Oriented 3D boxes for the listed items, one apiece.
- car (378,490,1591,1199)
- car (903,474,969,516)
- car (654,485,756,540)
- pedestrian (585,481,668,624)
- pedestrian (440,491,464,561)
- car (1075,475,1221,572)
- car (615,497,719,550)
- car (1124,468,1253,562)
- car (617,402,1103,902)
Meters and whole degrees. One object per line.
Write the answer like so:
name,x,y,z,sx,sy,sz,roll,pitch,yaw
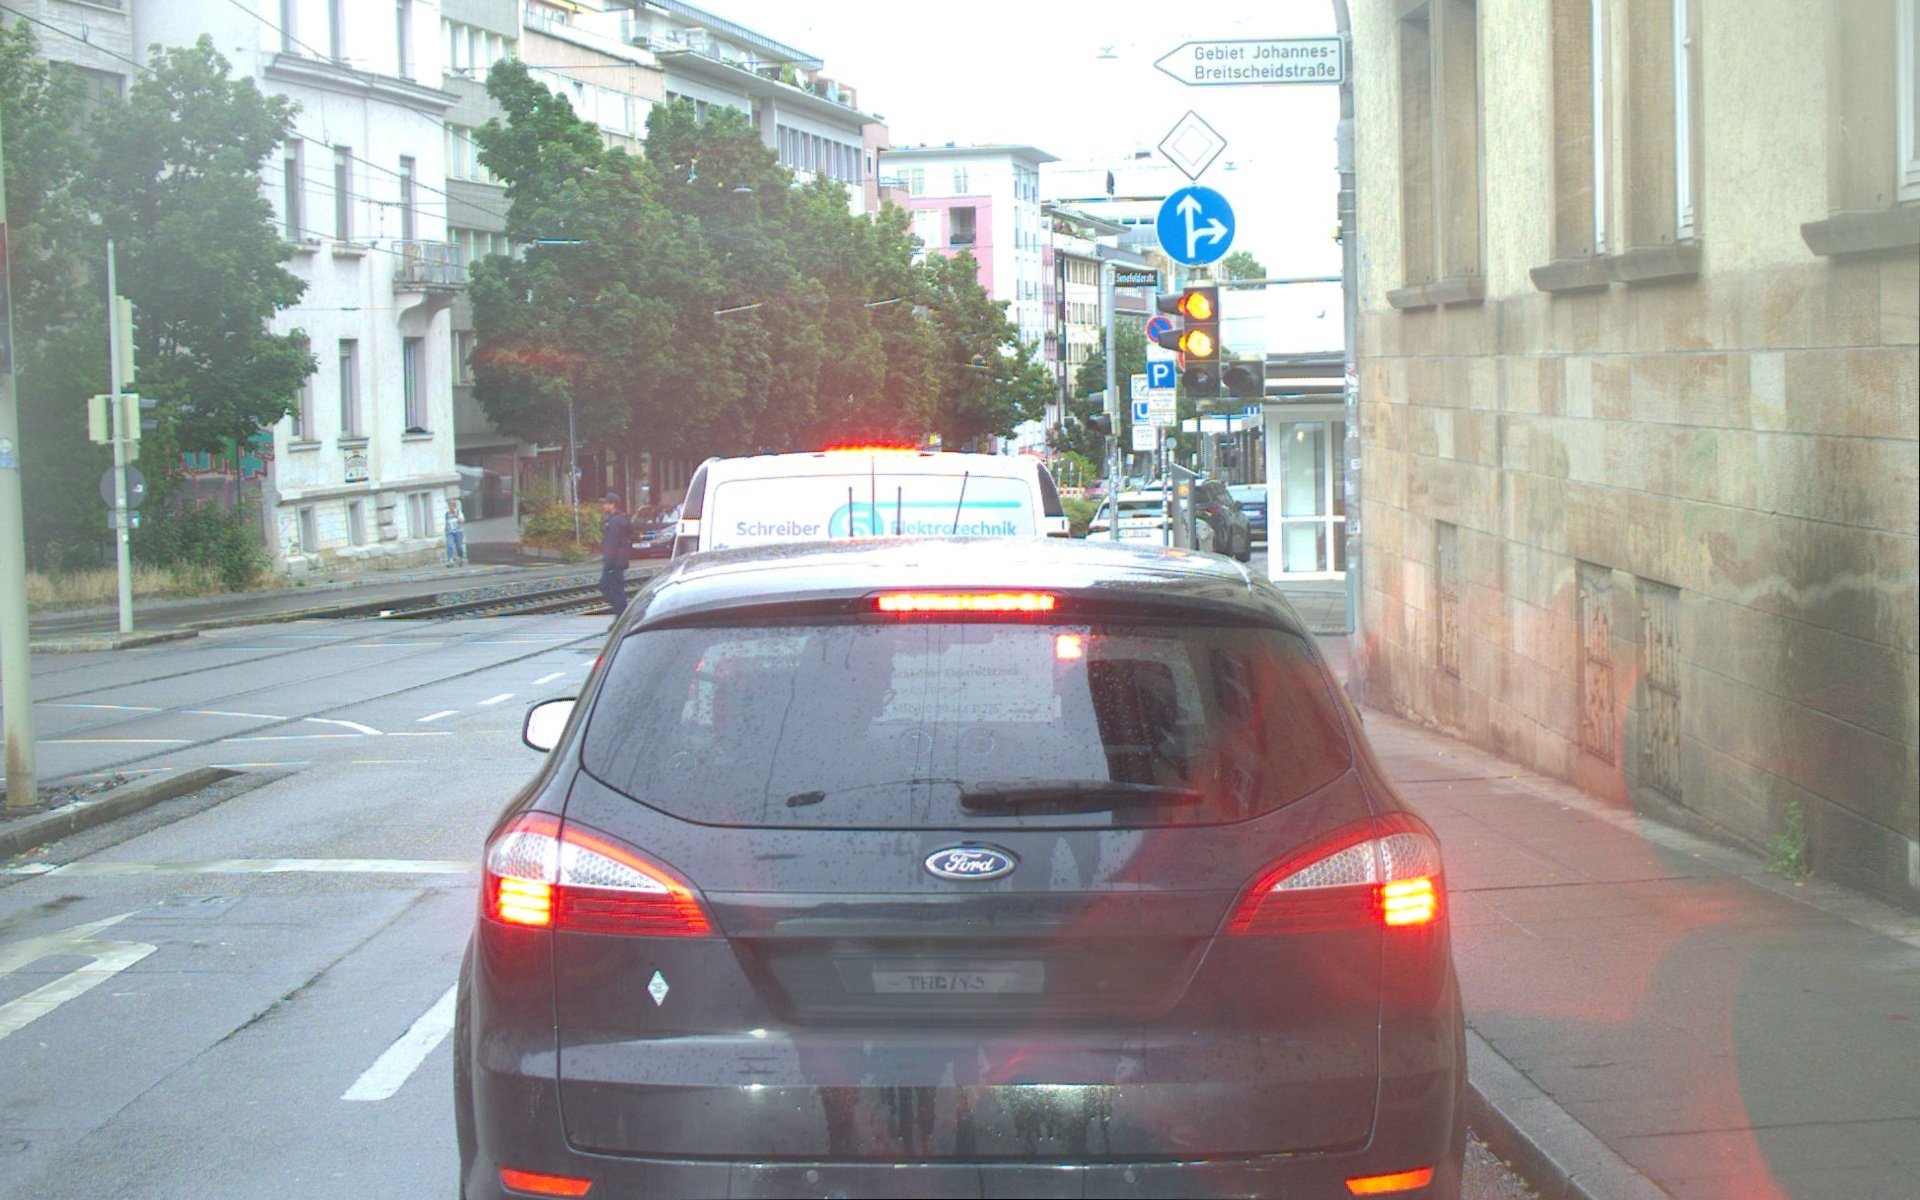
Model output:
car,0.008,0.564,7.256,1.842,1.502,4.000,1,1,-1
car,-0.948,-4.256,139.771,1.856,1.631,4.933,0,1,10
car,-7.361,-2.521,99.774,1.856,1.543,4.719,0,1,10
pedestrian,-4.364,-0.621,45.012,0.930,1.823,0.959,1,1,2
pedestrian,-12.010,-1.740,81.230,0.467,1.646,0.582,1,1,-2
car,3.114,-1.245,56.119,1.802,1.450,4.585,-2,1,10
car,-7.964,-2.070,93.924,1.694,1.373,4.719,0,1,10
car,4.212,-1.542,62.724,1.846,1.627,4.585,-1,1,10
car,-0.475,0.184,16.567,1.988,2.053,4.645,1,1,-2
